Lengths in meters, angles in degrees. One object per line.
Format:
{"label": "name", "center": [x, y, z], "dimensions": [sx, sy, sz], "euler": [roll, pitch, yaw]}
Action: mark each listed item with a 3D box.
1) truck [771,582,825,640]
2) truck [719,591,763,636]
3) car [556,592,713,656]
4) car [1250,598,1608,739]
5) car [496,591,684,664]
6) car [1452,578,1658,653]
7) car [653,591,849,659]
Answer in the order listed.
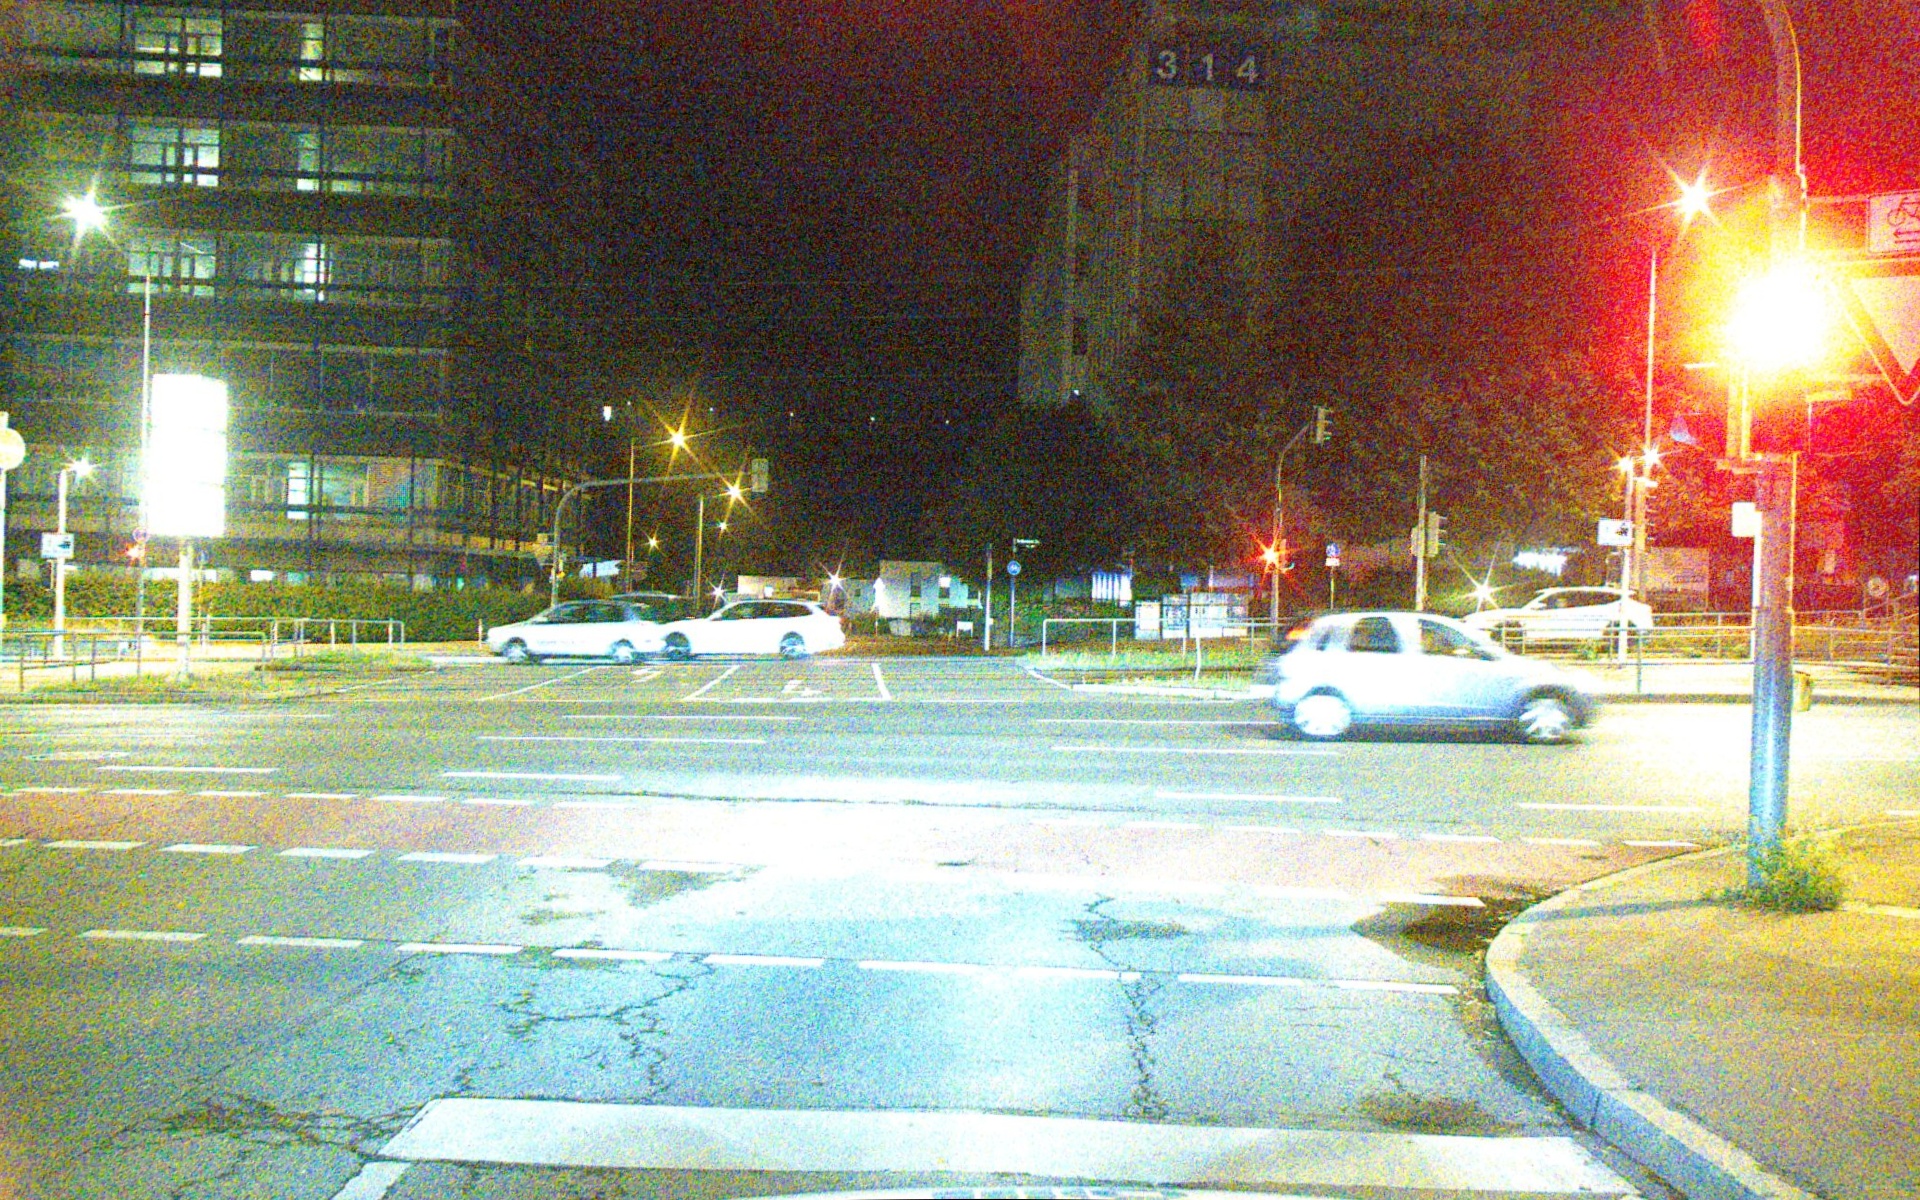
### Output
{"label": "truck", "center": [-14.623, 1.011, 148.607], "dimensions": [3.307, 4.927, 7.868], "euler": [2, -1, -17]}
{"label": "truck", "center": [-15.888, 1.009, 119.862], "dimensions": [2.377, 3.143, 6.414], "euler": [2, -1, -14]}
{"label": "car", "center": [-8.623, 0.618, 44.005], "dimensions": [3.738, 1.660, 1.813], "euler": [0, 0, 5]}
{"label": "car", "center": [5.217, 0.746, 18.747], "dimensions": [3.610, 1.445, 1.643], "euler": [-1, 0, 3]}
{"label": "car", "center": [-8.347, 0.625, 37.510], "dimensions": [3.755, 1.512, 1.869], "euler": [1, -1, 2]}
{"label": "car", "center": [14.309, 0.374, 39.959], "dimensions": [4.306, 1.672, 1.942], "euler": [1, -1, 2]}
{"label": "car", "center": [-5.041, 0.596, 40.279], "dimensions": [4.479, 1.512, 1.779], "euler": [1, 0, 2]}
